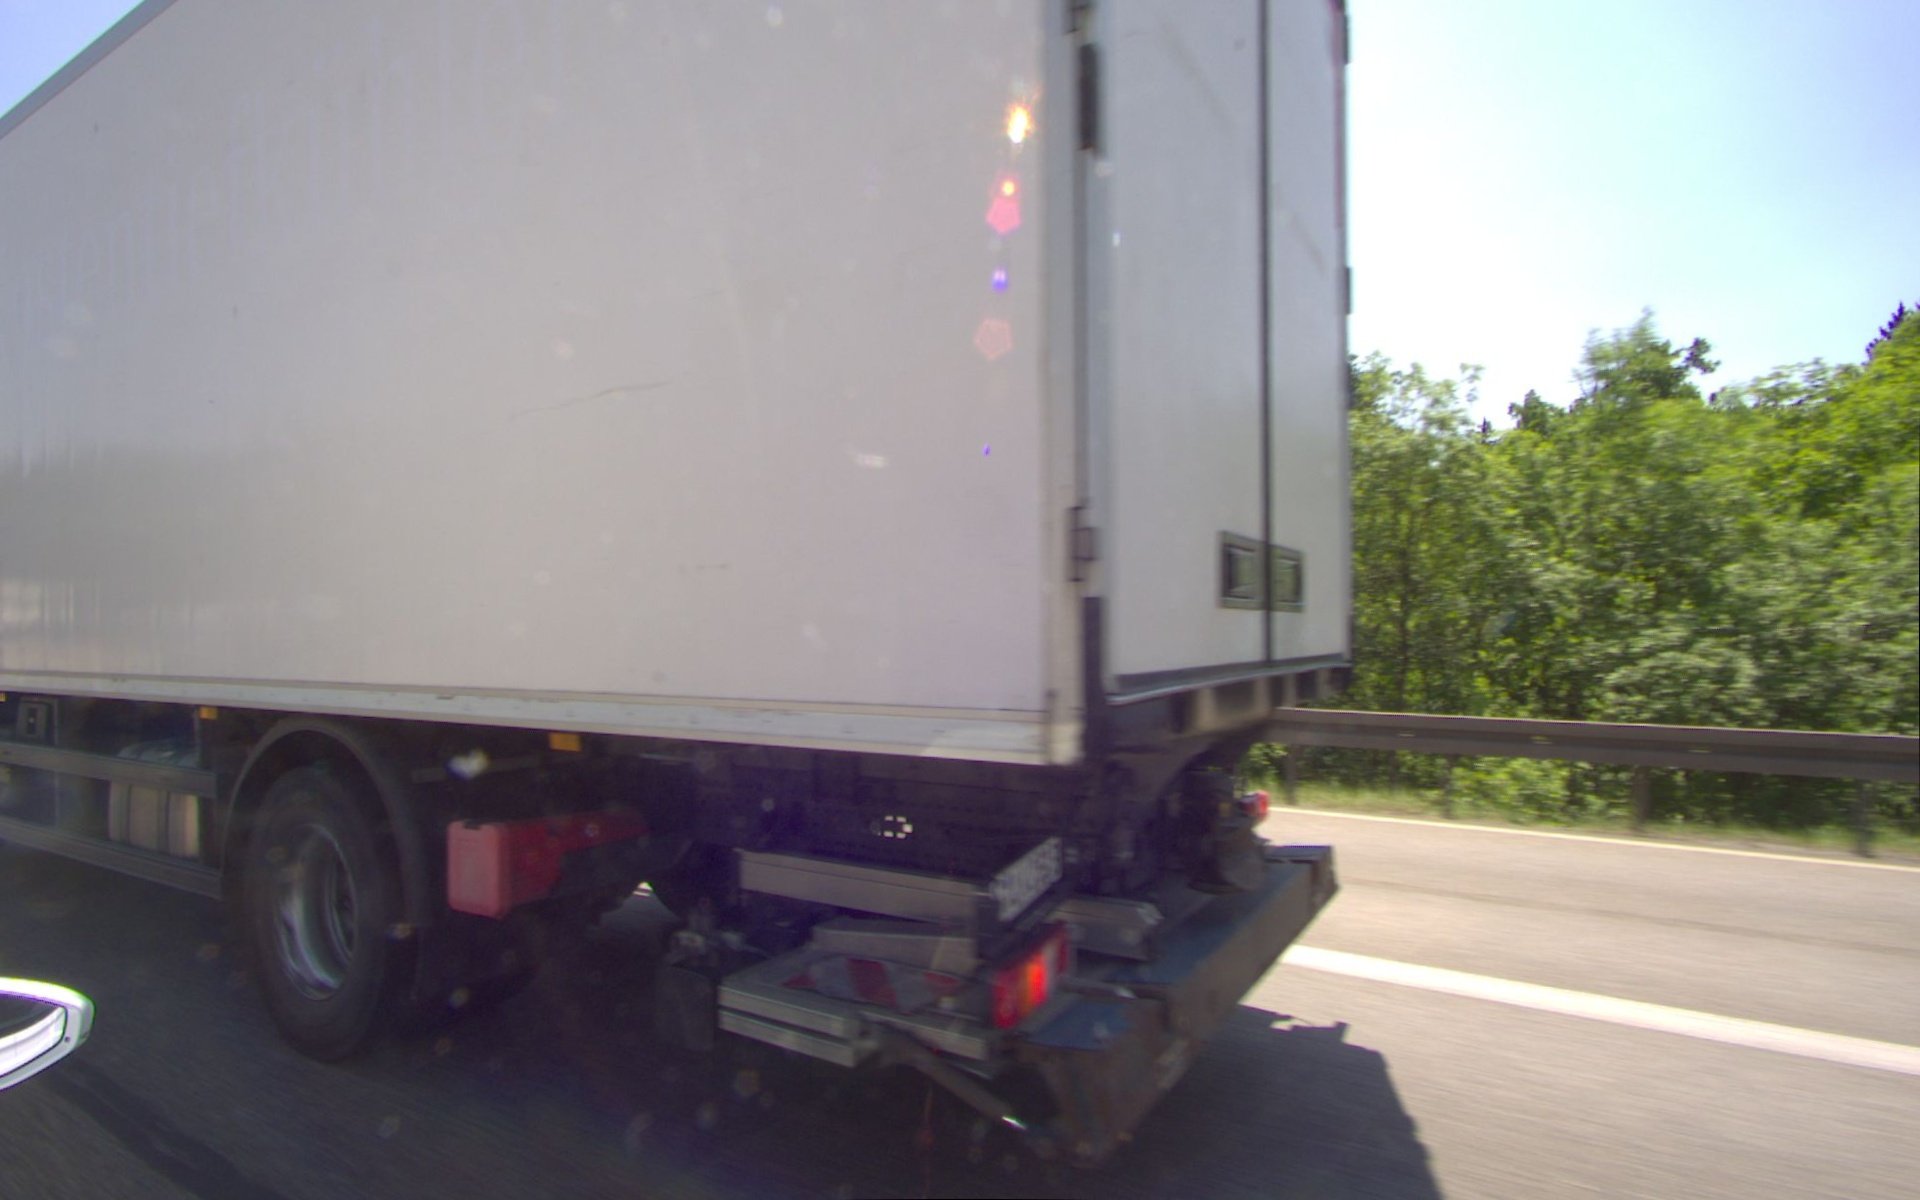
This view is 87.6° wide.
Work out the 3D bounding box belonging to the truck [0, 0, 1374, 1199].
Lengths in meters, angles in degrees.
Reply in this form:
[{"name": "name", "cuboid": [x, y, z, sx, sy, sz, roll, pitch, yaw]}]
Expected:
[{"name": "truck", "cuboid": [-3.149, -0.514, 5.412, 9.640, 3.929, 2.681, -1, 2, 33]}]
